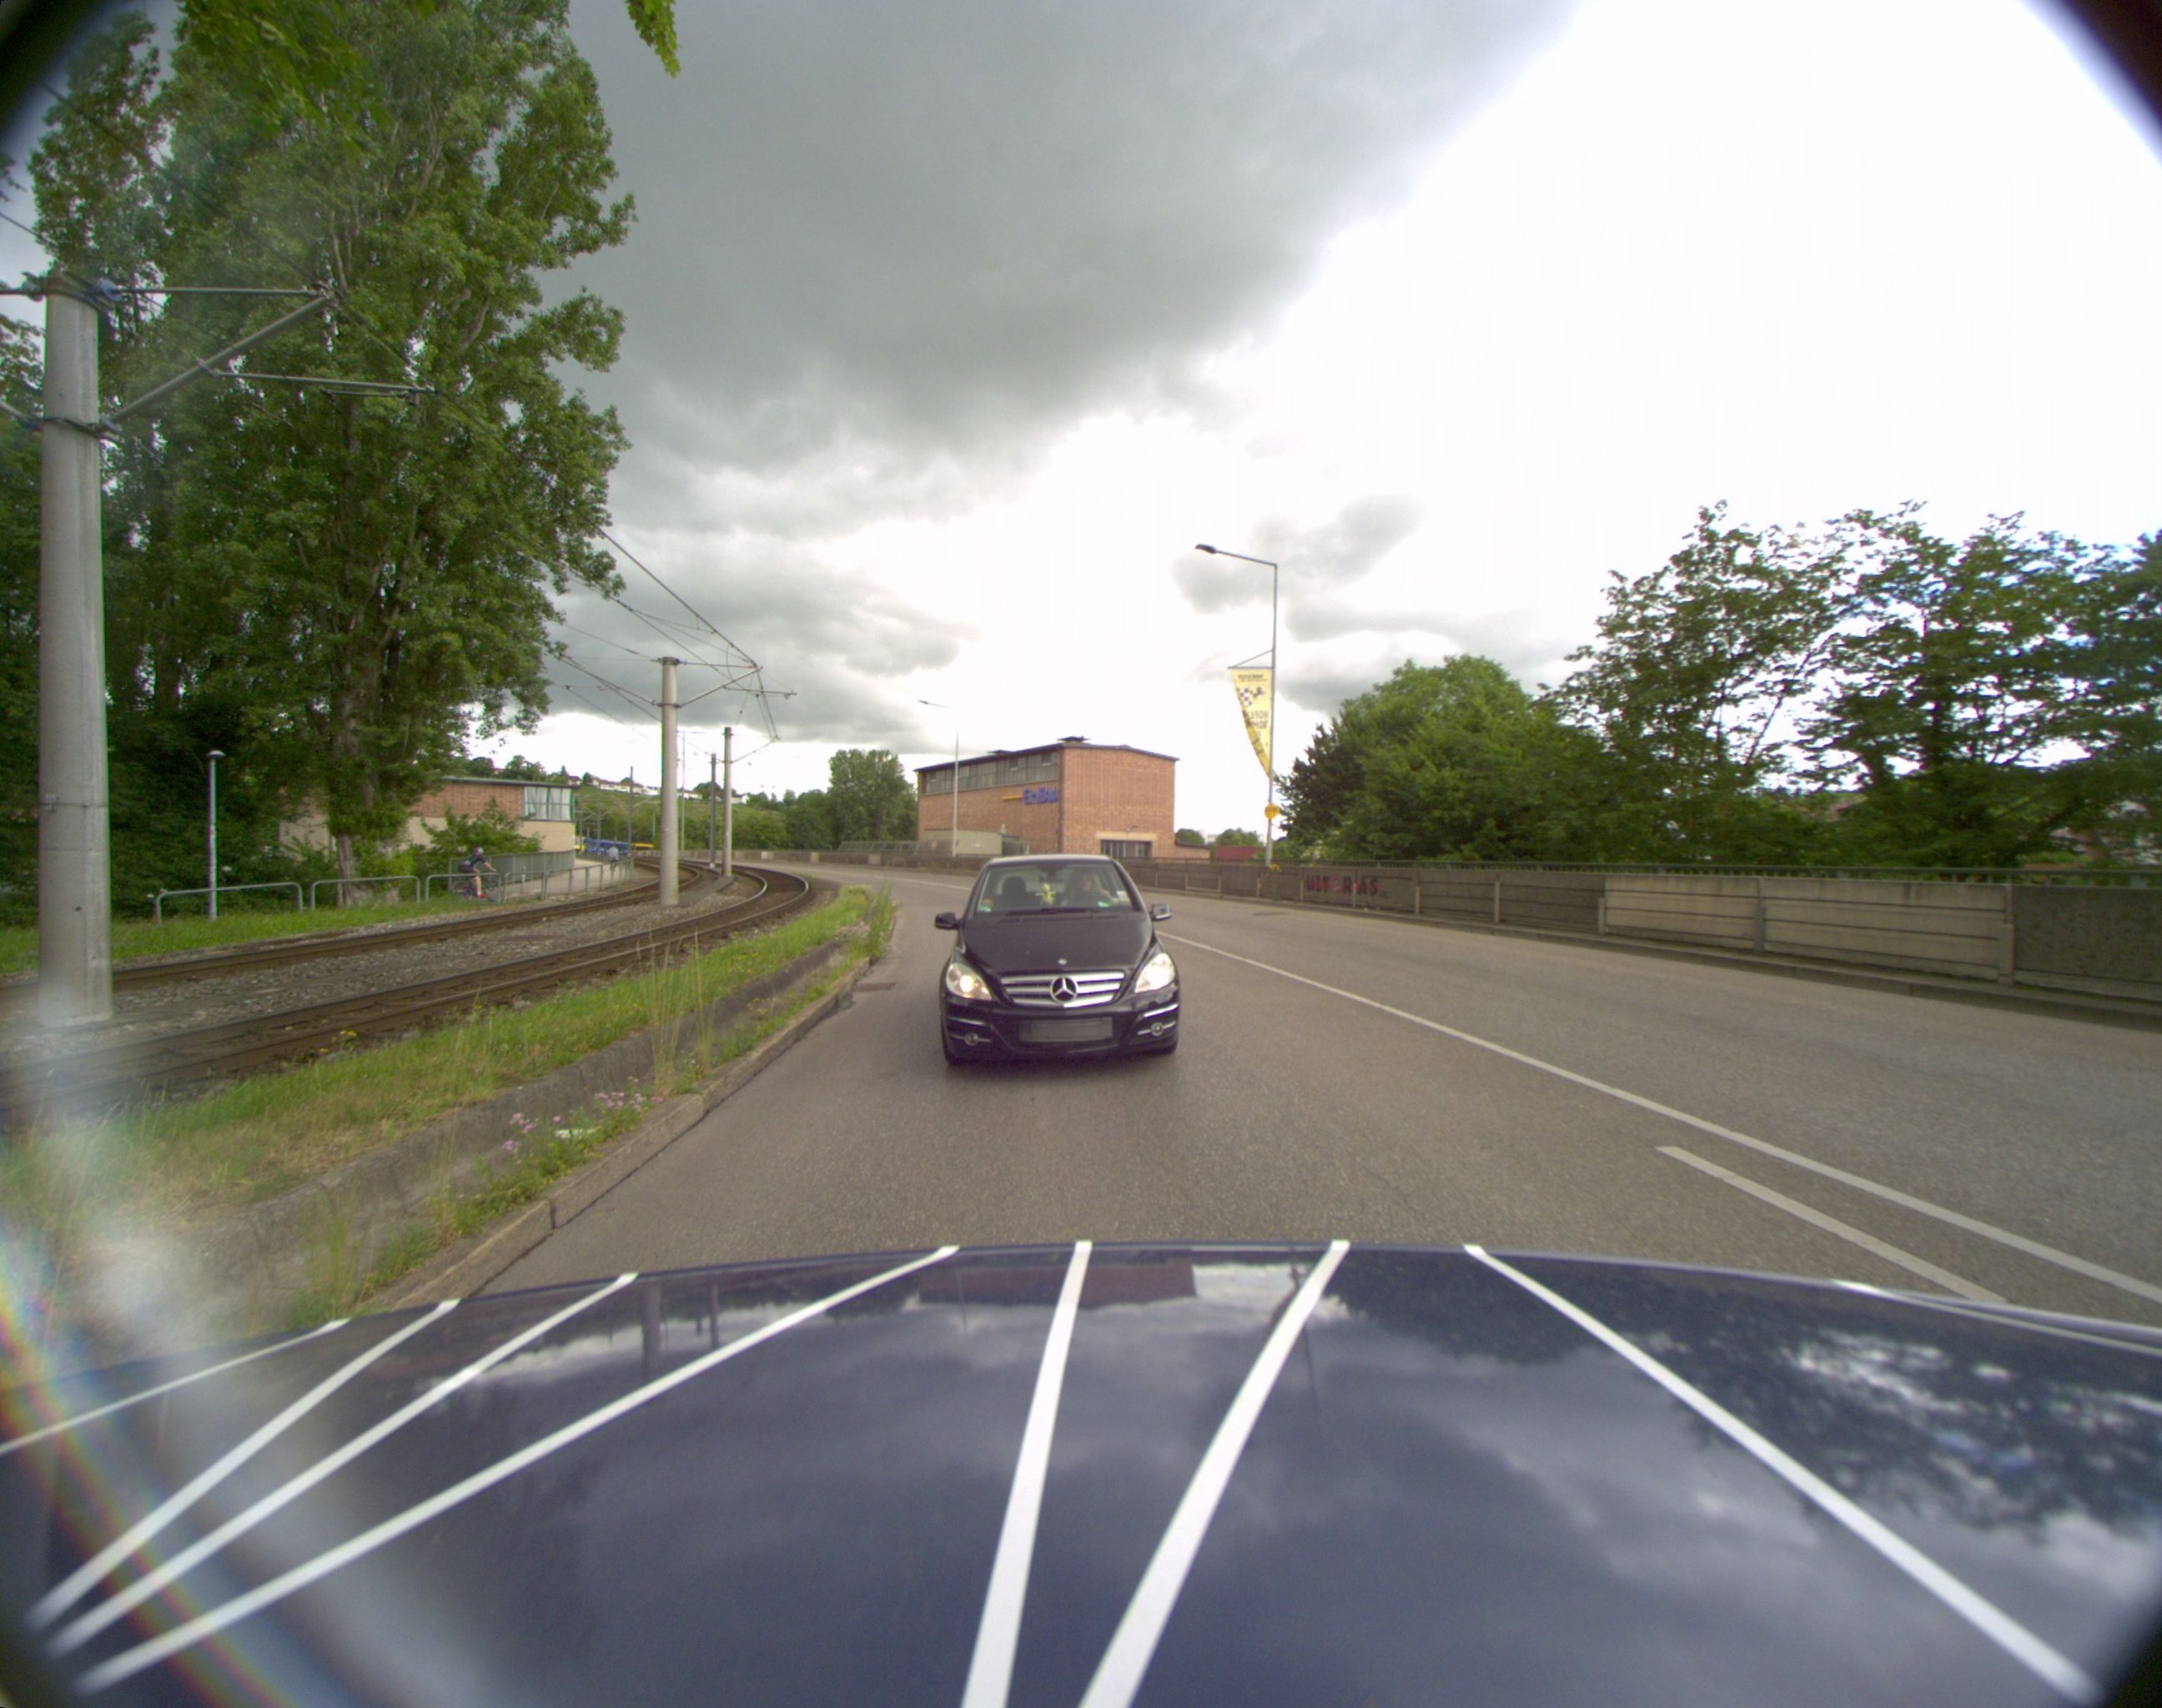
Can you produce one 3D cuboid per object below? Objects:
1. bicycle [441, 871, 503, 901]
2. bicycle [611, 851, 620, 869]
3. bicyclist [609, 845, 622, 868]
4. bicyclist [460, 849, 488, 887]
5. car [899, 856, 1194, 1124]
[{"bbox_3d":[-17.416,0.903,21.766,0.347,0.790,1.549,0,0,10],"label":"bicycle"},{"bbox_3d":[-28.305,0.344,46.197,0.428,1.044,2.075,-2,1,-33],"label":"bicycle"},{"bbox_3d":[-28.283,0.147,46.134,0.596,1.352,0.908,-2,1,-33],"label":"bicyclist"},{"bbox_3d":[-17.407,0.409,21.790,0.417,1.077,0.475,0,1,10],"label":"bicyclist"},{"bbox_3d":[-0.219,0.873,6.827,1.860,1.612,3.999,0,1,0],"label":"car"}]
